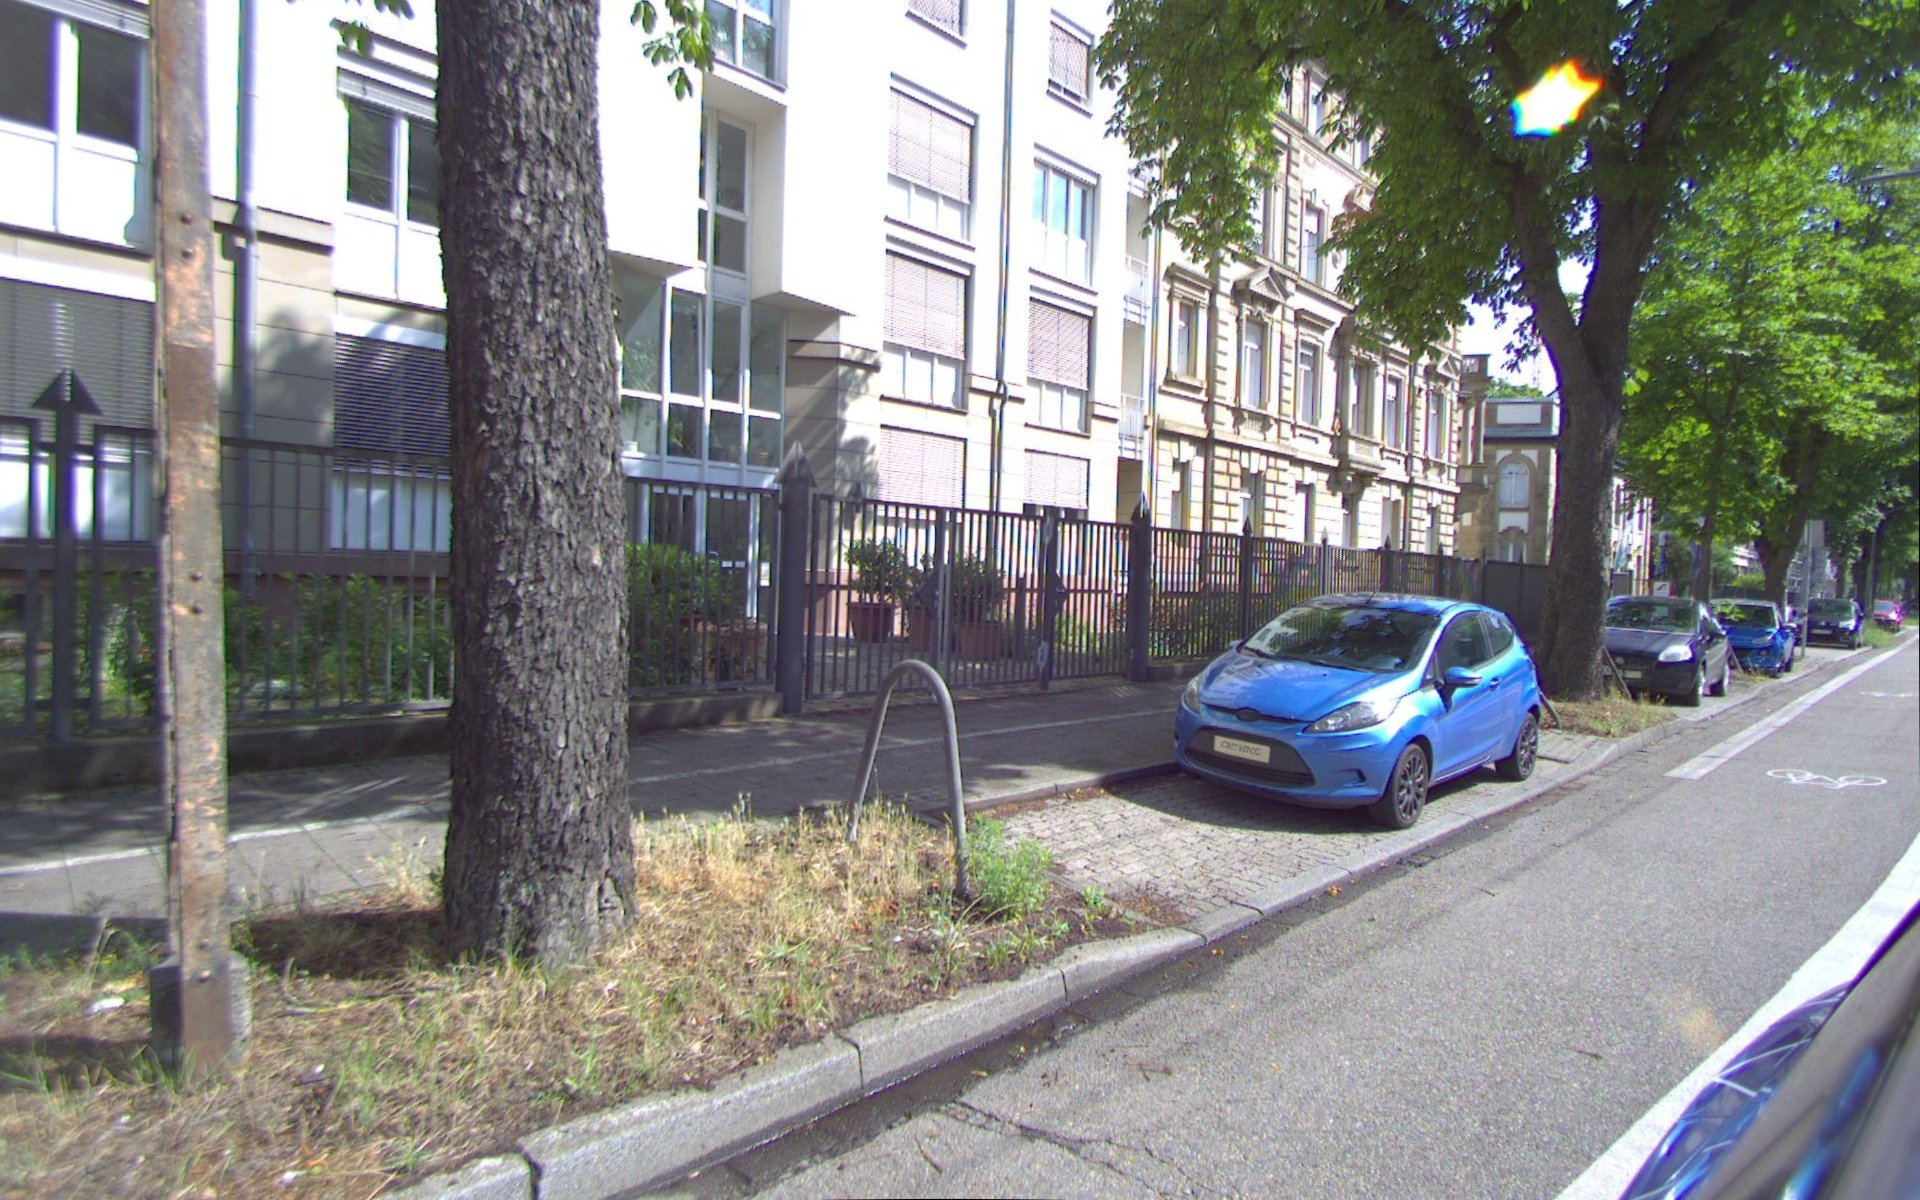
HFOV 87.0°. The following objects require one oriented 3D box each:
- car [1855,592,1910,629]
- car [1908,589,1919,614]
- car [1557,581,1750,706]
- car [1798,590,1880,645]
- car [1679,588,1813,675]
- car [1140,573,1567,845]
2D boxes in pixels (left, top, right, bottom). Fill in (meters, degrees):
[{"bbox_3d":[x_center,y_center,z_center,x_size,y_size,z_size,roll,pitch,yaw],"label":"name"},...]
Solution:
[{"bbox_3d":[45.145,0.473,49.488,1.741,1.592,3.867,7,5,44],"label":"car"},{"bbox_3d":[63.038,0.143,65.878,1.741,1.592,3.867,7,5,44],"label":"car"},{"bbox_3d":[10.333,0.550,14.983,1.676,1.493,3.602,7,5,44],"label":"car"},{"bbox_3d":[29.133,0.539,33.504,1.741,1.592,3.602,7,5,44],"label":"car"},{"bbox_3d":[16.092,0.568,20.667,1.676,1.493,3.602,7,5,44],"label":"car"},{"bbox_3d":[3.164,0.631,7.794,3.601,1.493,1.645,0,5,-44],"label":"car"}]
